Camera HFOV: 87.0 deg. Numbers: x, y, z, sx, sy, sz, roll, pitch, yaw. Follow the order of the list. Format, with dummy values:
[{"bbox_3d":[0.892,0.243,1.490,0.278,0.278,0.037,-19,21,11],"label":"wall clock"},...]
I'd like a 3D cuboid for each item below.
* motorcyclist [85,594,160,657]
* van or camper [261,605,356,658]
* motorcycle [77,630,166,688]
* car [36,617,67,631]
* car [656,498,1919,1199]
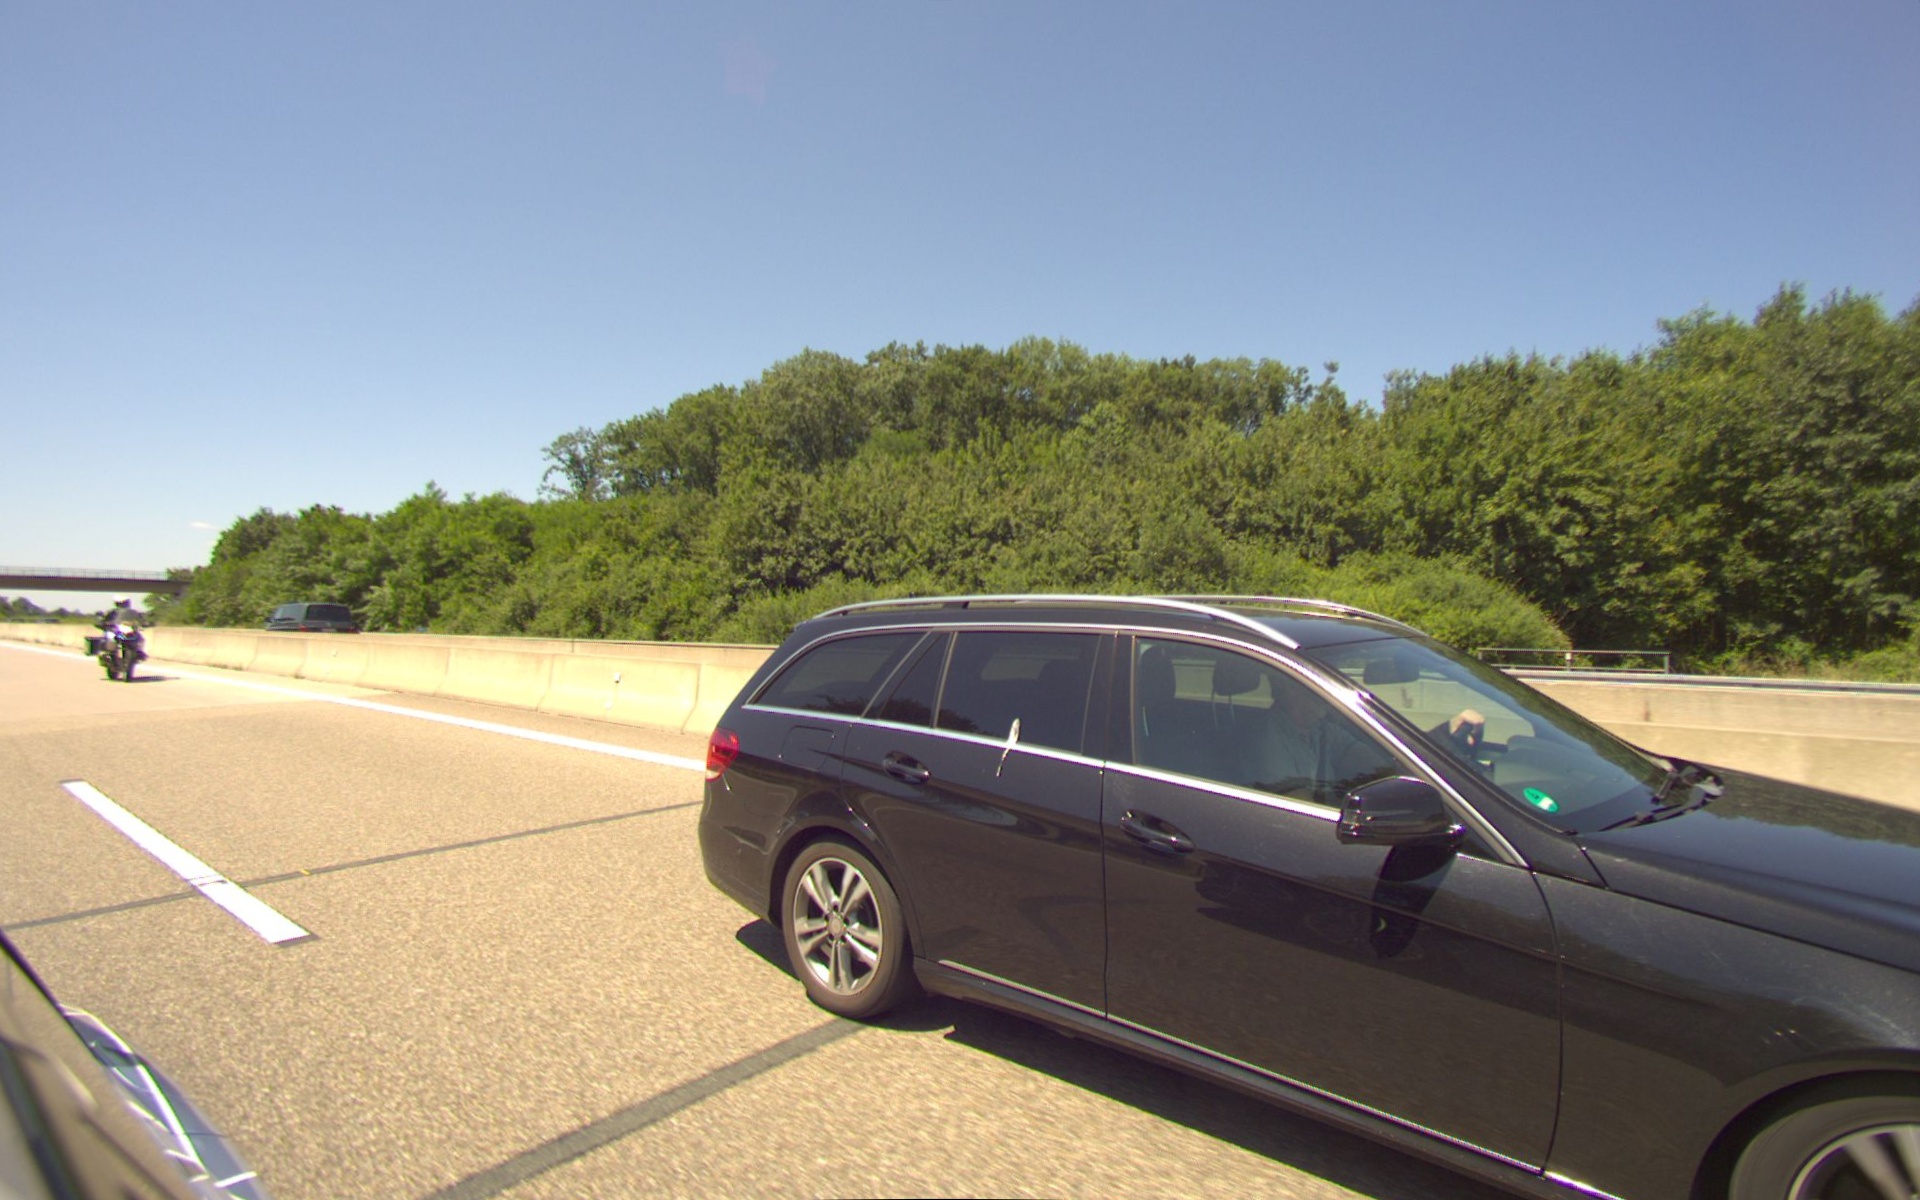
[{"bbox_3d":[-16.788,0.512,20.298,0.911,1.218,1.014,-2,-2,41],"label":"motorcyclist"},{"bbox_3d":[-24.779,1.171,38.418,4.414,1.896,1.828,-1,-2,40],"label":"van or camper"},{"bbox_3d":[-16.911,1.167,20.395,2.412,1.056,1.010,-2,-1,41],"label":"motorcycle"},{"bbox_3d":[-91.278,2.389,101.682,4.856,1.325,1.659,-2,-2,40],"label":"car"},{"bbox_3d":[1.456,0.616,3.039,5.600,1.484,1.871,-2,-2,41],"label":"car"}]
